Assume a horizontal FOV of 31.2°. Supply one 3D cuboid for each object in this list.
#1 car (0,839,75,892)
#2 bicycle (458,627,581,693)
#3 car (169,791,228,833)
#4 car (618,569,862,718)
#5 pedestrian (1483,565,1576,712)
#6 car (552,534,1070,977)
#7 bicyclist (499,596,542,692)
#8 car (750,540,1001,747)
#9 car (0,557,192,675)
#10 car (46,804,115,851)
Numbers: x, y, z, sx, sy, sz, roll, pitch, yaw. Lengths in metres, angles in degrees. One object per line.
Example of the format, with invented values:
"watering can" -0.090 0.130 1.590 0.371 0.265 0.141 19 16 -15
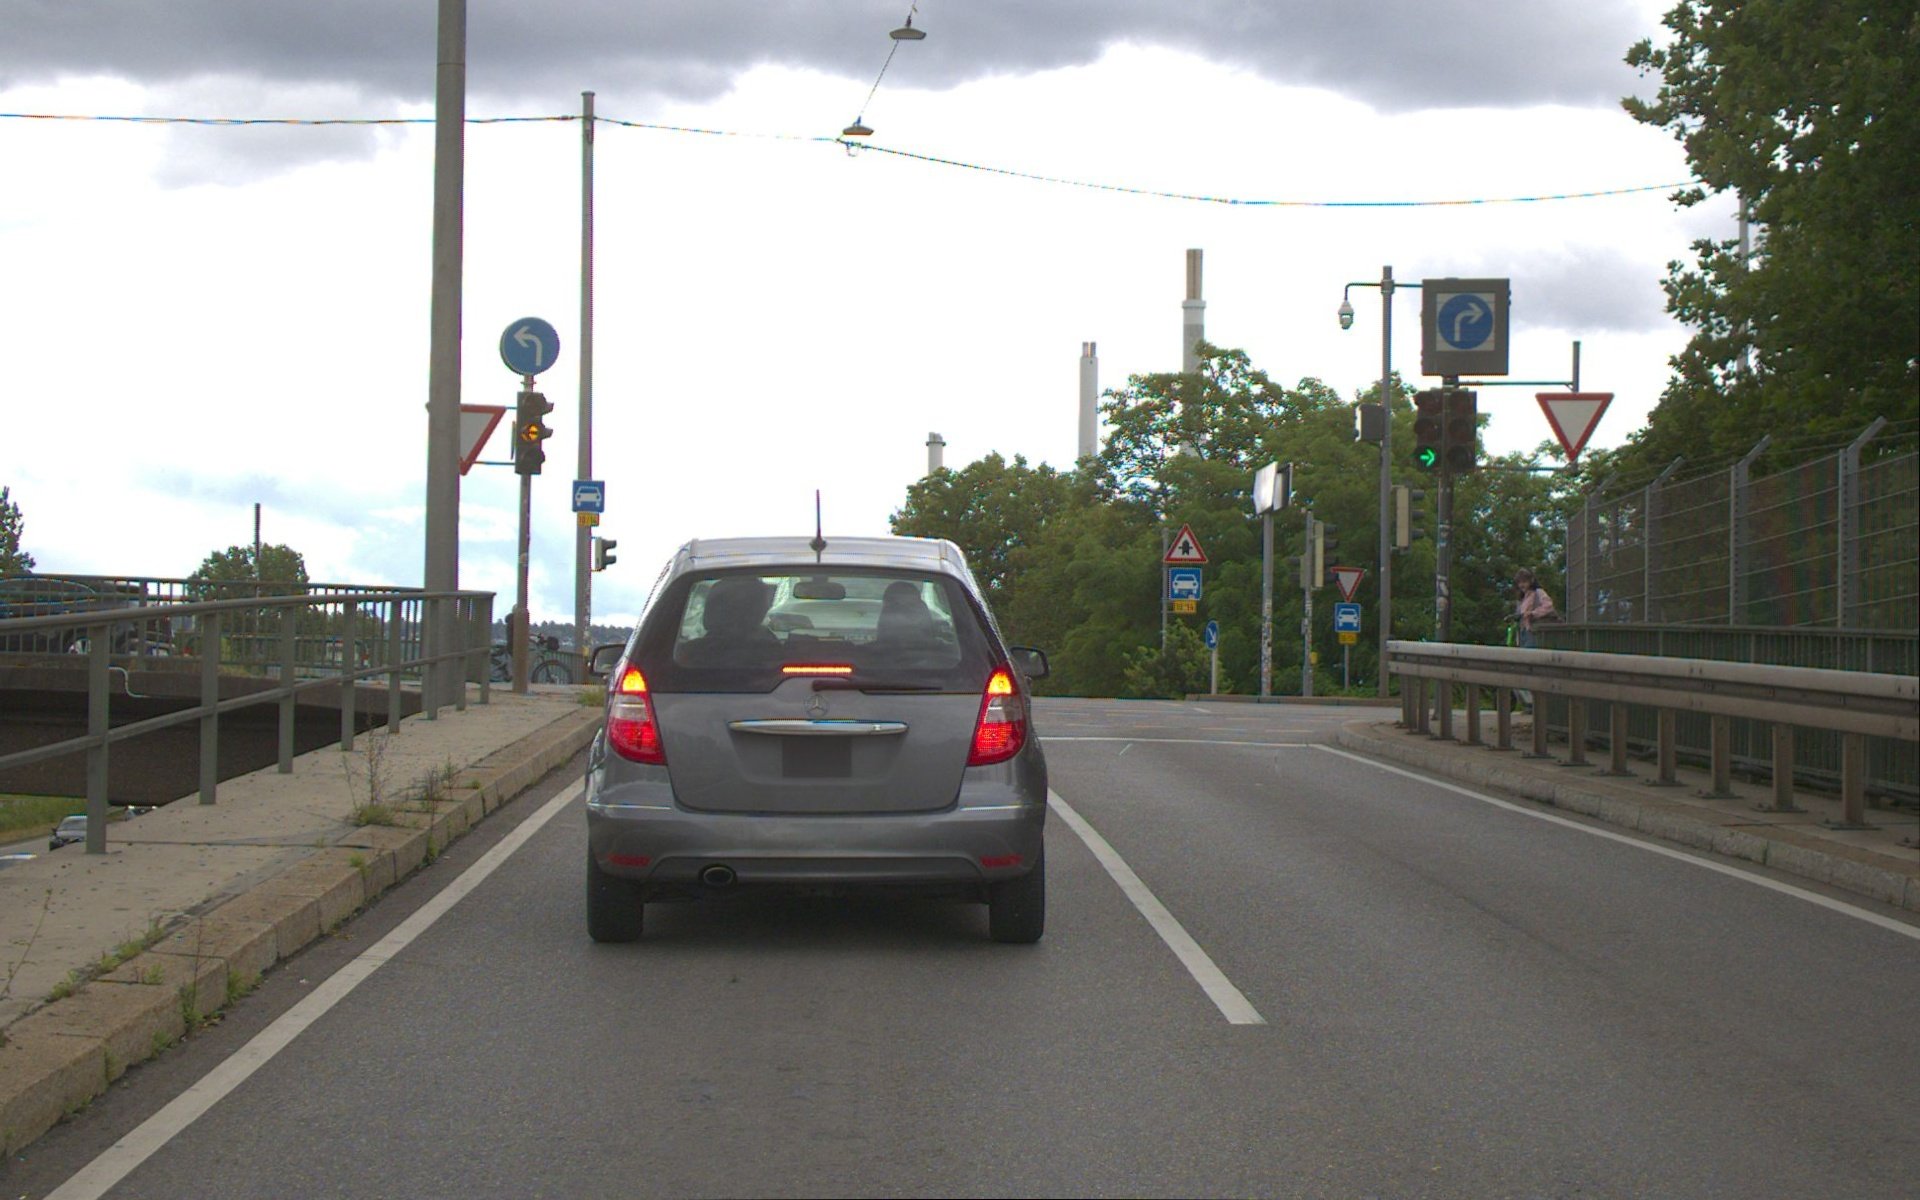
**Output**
"car" -29.526 8.433 109.533 1.728 1.523 4.087 1 -2 -2
"bicycle" -7.721 1.050 60.213 2.032 1.121 0.929 1 1 -13
"car" -36.246 10.088 163.703 1.993 1.835 4.424 1 -2 -2
"car" -2.777 0.500 42.530 1.930 1.711 4.001 1 1 -20
"pedestrian" 6.580 0.453 39.763 0.832 1.672 0.979 0 -3 -5
"car" -0.538 0.530 14.470 1.858 1.583 4.000 1 1 0
"bicyclist" -7.706 0.765 60.225 0.653 1.668 0.870 1 1 -12
"car" -0.841 0.341 30.993 1.931 1.711 4.407 1 1 -6
"car" -13.759 0.217 51.793 3.986 1.711 1.938 1 1 -3
"car" -37.063 9.571 144.958 1.930 1.835 4.410 0 -2 -2
